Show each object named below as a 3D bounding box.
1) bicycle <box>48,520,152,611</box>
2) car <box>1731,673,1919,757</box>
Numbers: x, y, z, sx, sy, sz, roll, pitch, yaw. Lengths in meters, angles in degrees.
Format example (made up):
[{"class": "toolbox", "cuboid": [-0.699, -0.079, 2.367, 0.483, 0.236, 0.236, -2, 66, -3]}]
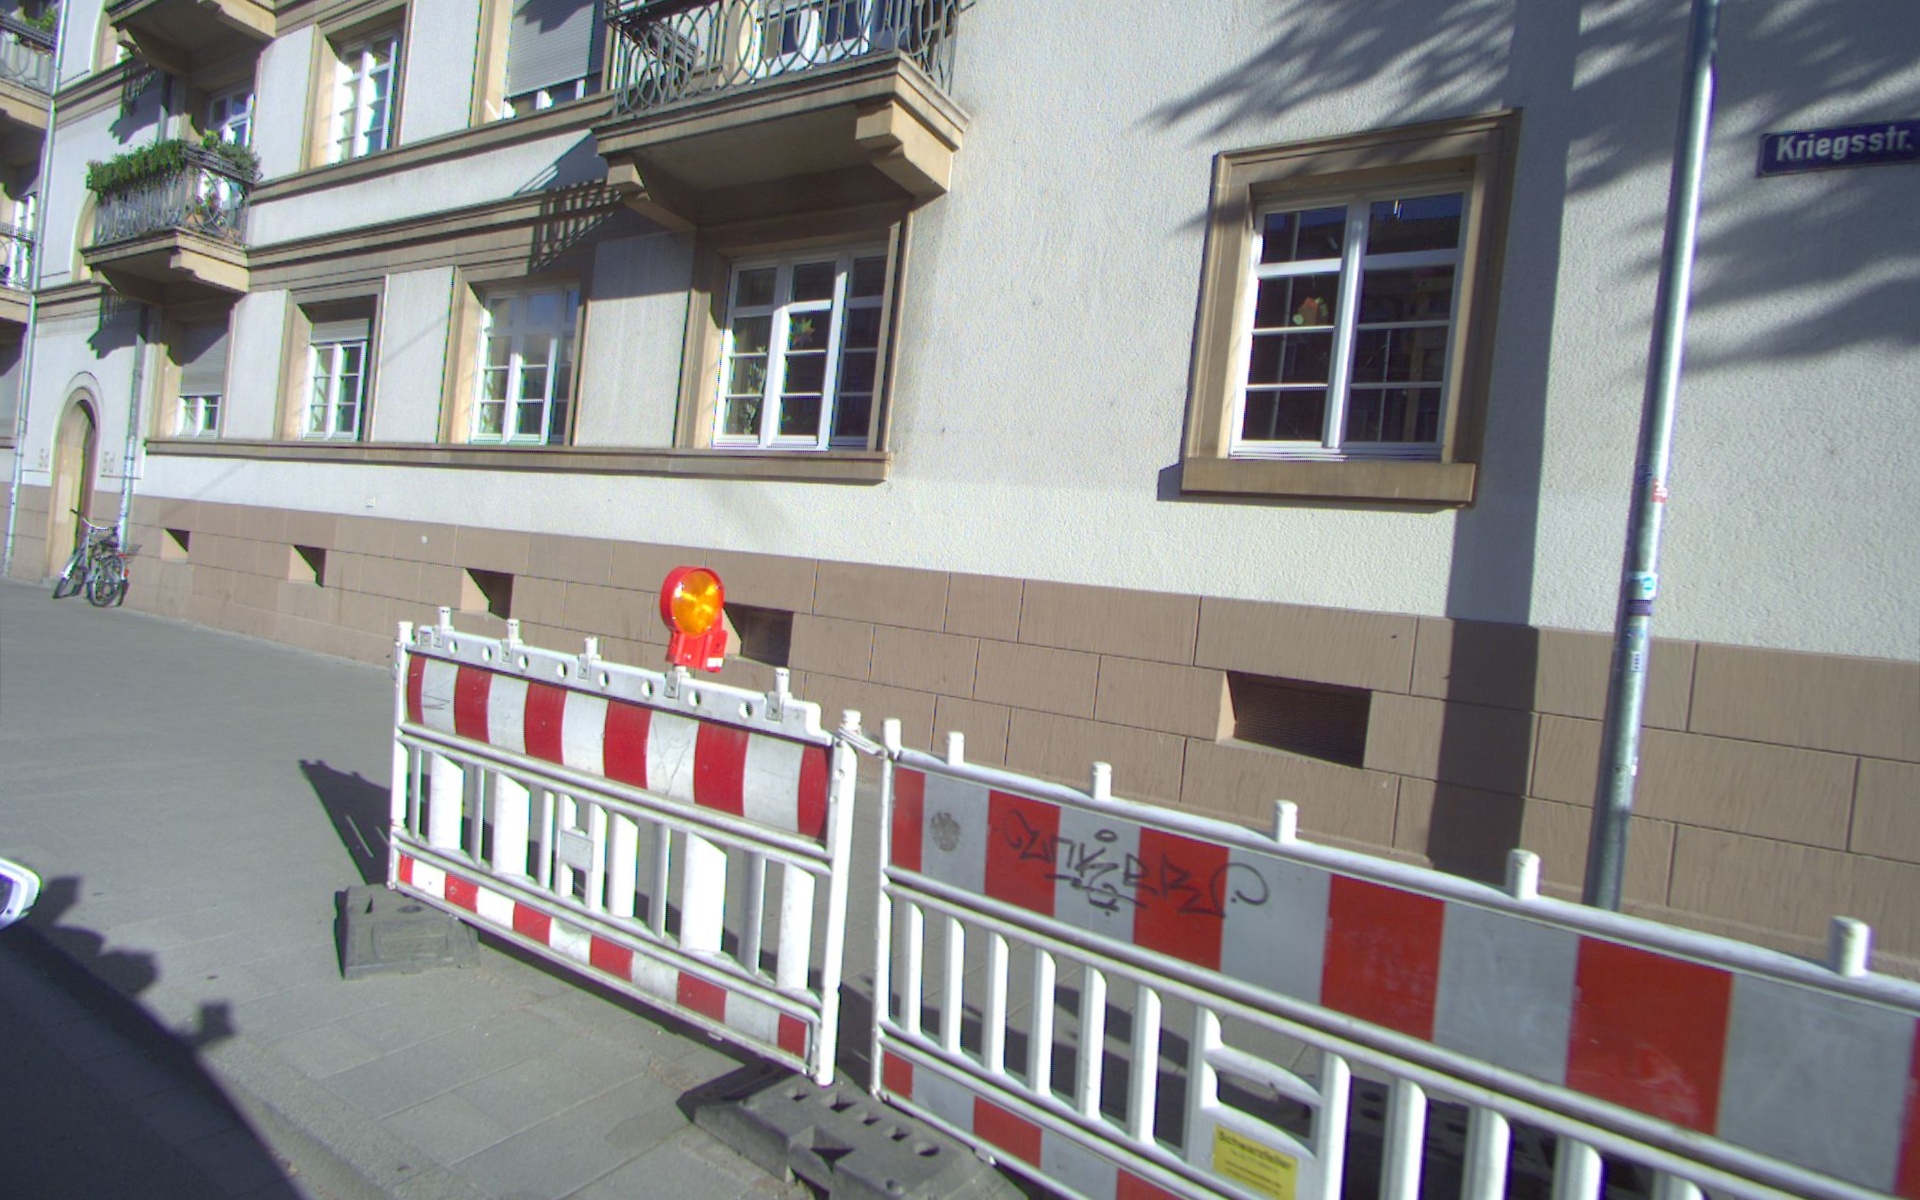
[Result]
[{"class": "bicycle", "cuboid": [-12.220, -0.506, 14.269, 2.162, 1.109, 0.418, 6, 0, 32]}, {"class": "car", "cuboid": [22.971, 2.977, 26.163, 4.295, 1.603, 1.867, 6, 0, 32]}]
